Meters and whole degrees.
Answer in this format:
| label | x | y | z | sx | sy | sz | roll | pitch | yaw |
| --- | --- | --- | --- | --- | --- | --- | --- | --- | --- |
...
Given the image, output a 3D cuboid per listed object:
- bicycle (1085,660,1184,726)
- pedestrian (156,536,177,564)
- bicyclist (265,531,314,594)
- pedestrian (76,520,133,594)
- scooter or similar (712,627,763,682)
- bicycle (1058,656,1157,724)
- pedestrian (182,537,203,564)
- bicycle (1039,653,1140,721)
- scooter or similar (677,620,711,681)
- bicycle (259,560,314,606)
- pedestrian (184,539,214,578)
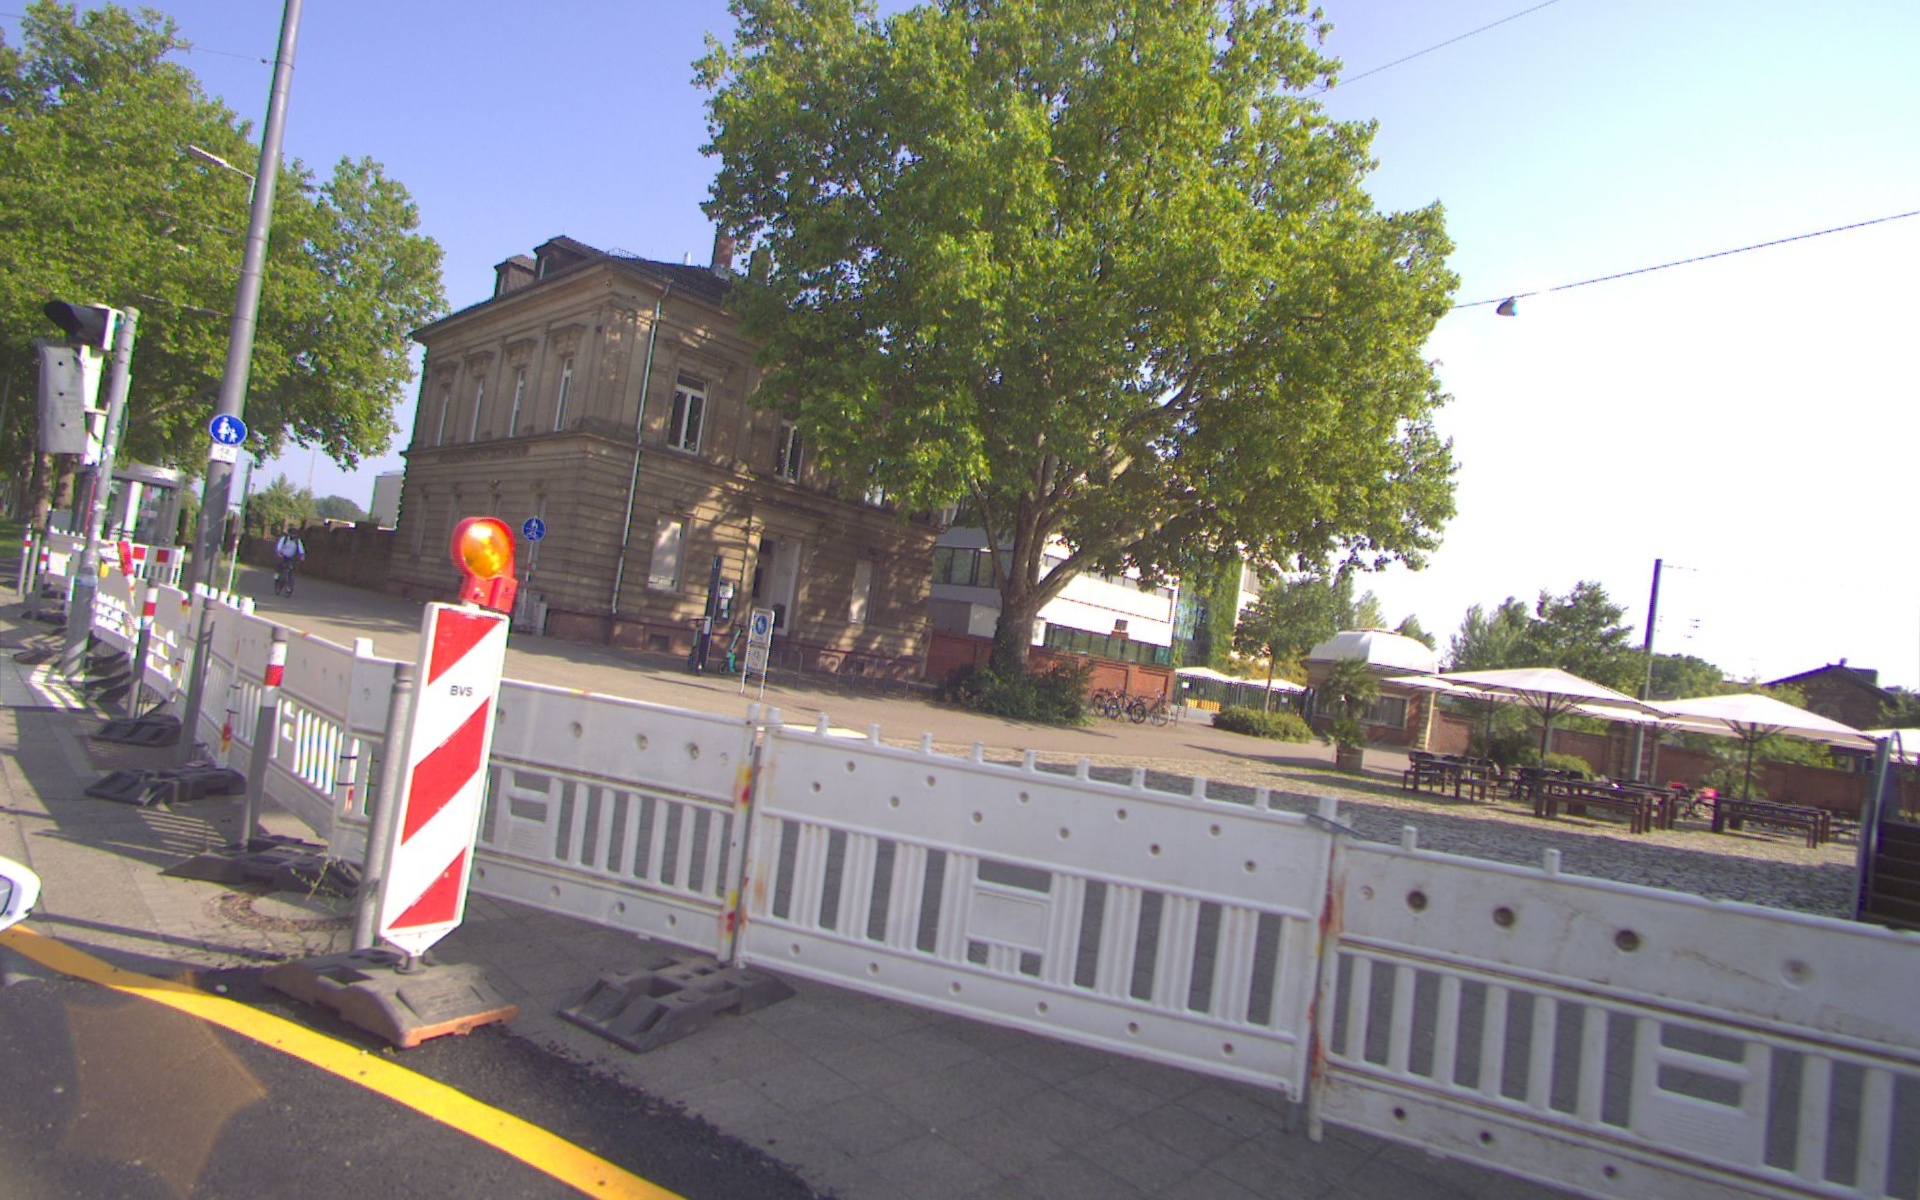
| label | x | y | z | sx | sy | sz | roll | pitch | yaw |
| --- | --- | --- | --- | --- | --- | --- | --- | --- | --- |
| bicycle | 5.944 | 3.159 | 34.493 | 3.243 | 1.822 | 0.846 | 6 | -3 | 44 |
| pedestrian | -49.693 | -3.104 | 62.985 | 0.804 | 1.623 | 0.935 | 8 | -1 | -44 |
| bicyclist | -18.244 | -1.014 | 27.365 | 0.943 | 1.560 | 0.716 | 6 | -2 | 43 |
| pedestrian | -21.312 | -1.063 | 25.058 | 0.637 | 1.716 | 0.690 | 7 | -2 | 24 |
| scooter or similar | -5.341 | 1.324 | 24.195 | 0.415 | 1.224 | 1.256 | 9 | -1 | 20 |
| bicycle | 4.950 | 3.011 | 34.018 | 3.243 | 1.822 | 0.846 | 6 | -3 | 44 |
| pedestrian | -48.714 | -3.142 | 63.847 | 0.804 | 1.623 | 0.935 | 8 | -1 | -44 |
| bicycle | 4.256 | 2.855 | 33.352 | 3.243 | 1.822 | 0.846 | 6 | -3 | 44 |
| scooter or similar | -6.033 | 1.125 | 22.792 | 0.417 | 1.224 | 1.248 | 9 | 0 | -22 |
| bicycle | -18.308 | -0.474 | 27.342 | 1.877 | 1.053 | 0.716 | 6 | -3 | 43 |
| pedestrian | -35.621 | -1.942 | 47.110 | 0.817 | 1.705 | 0.999 | 9 | -2 | -45 |
